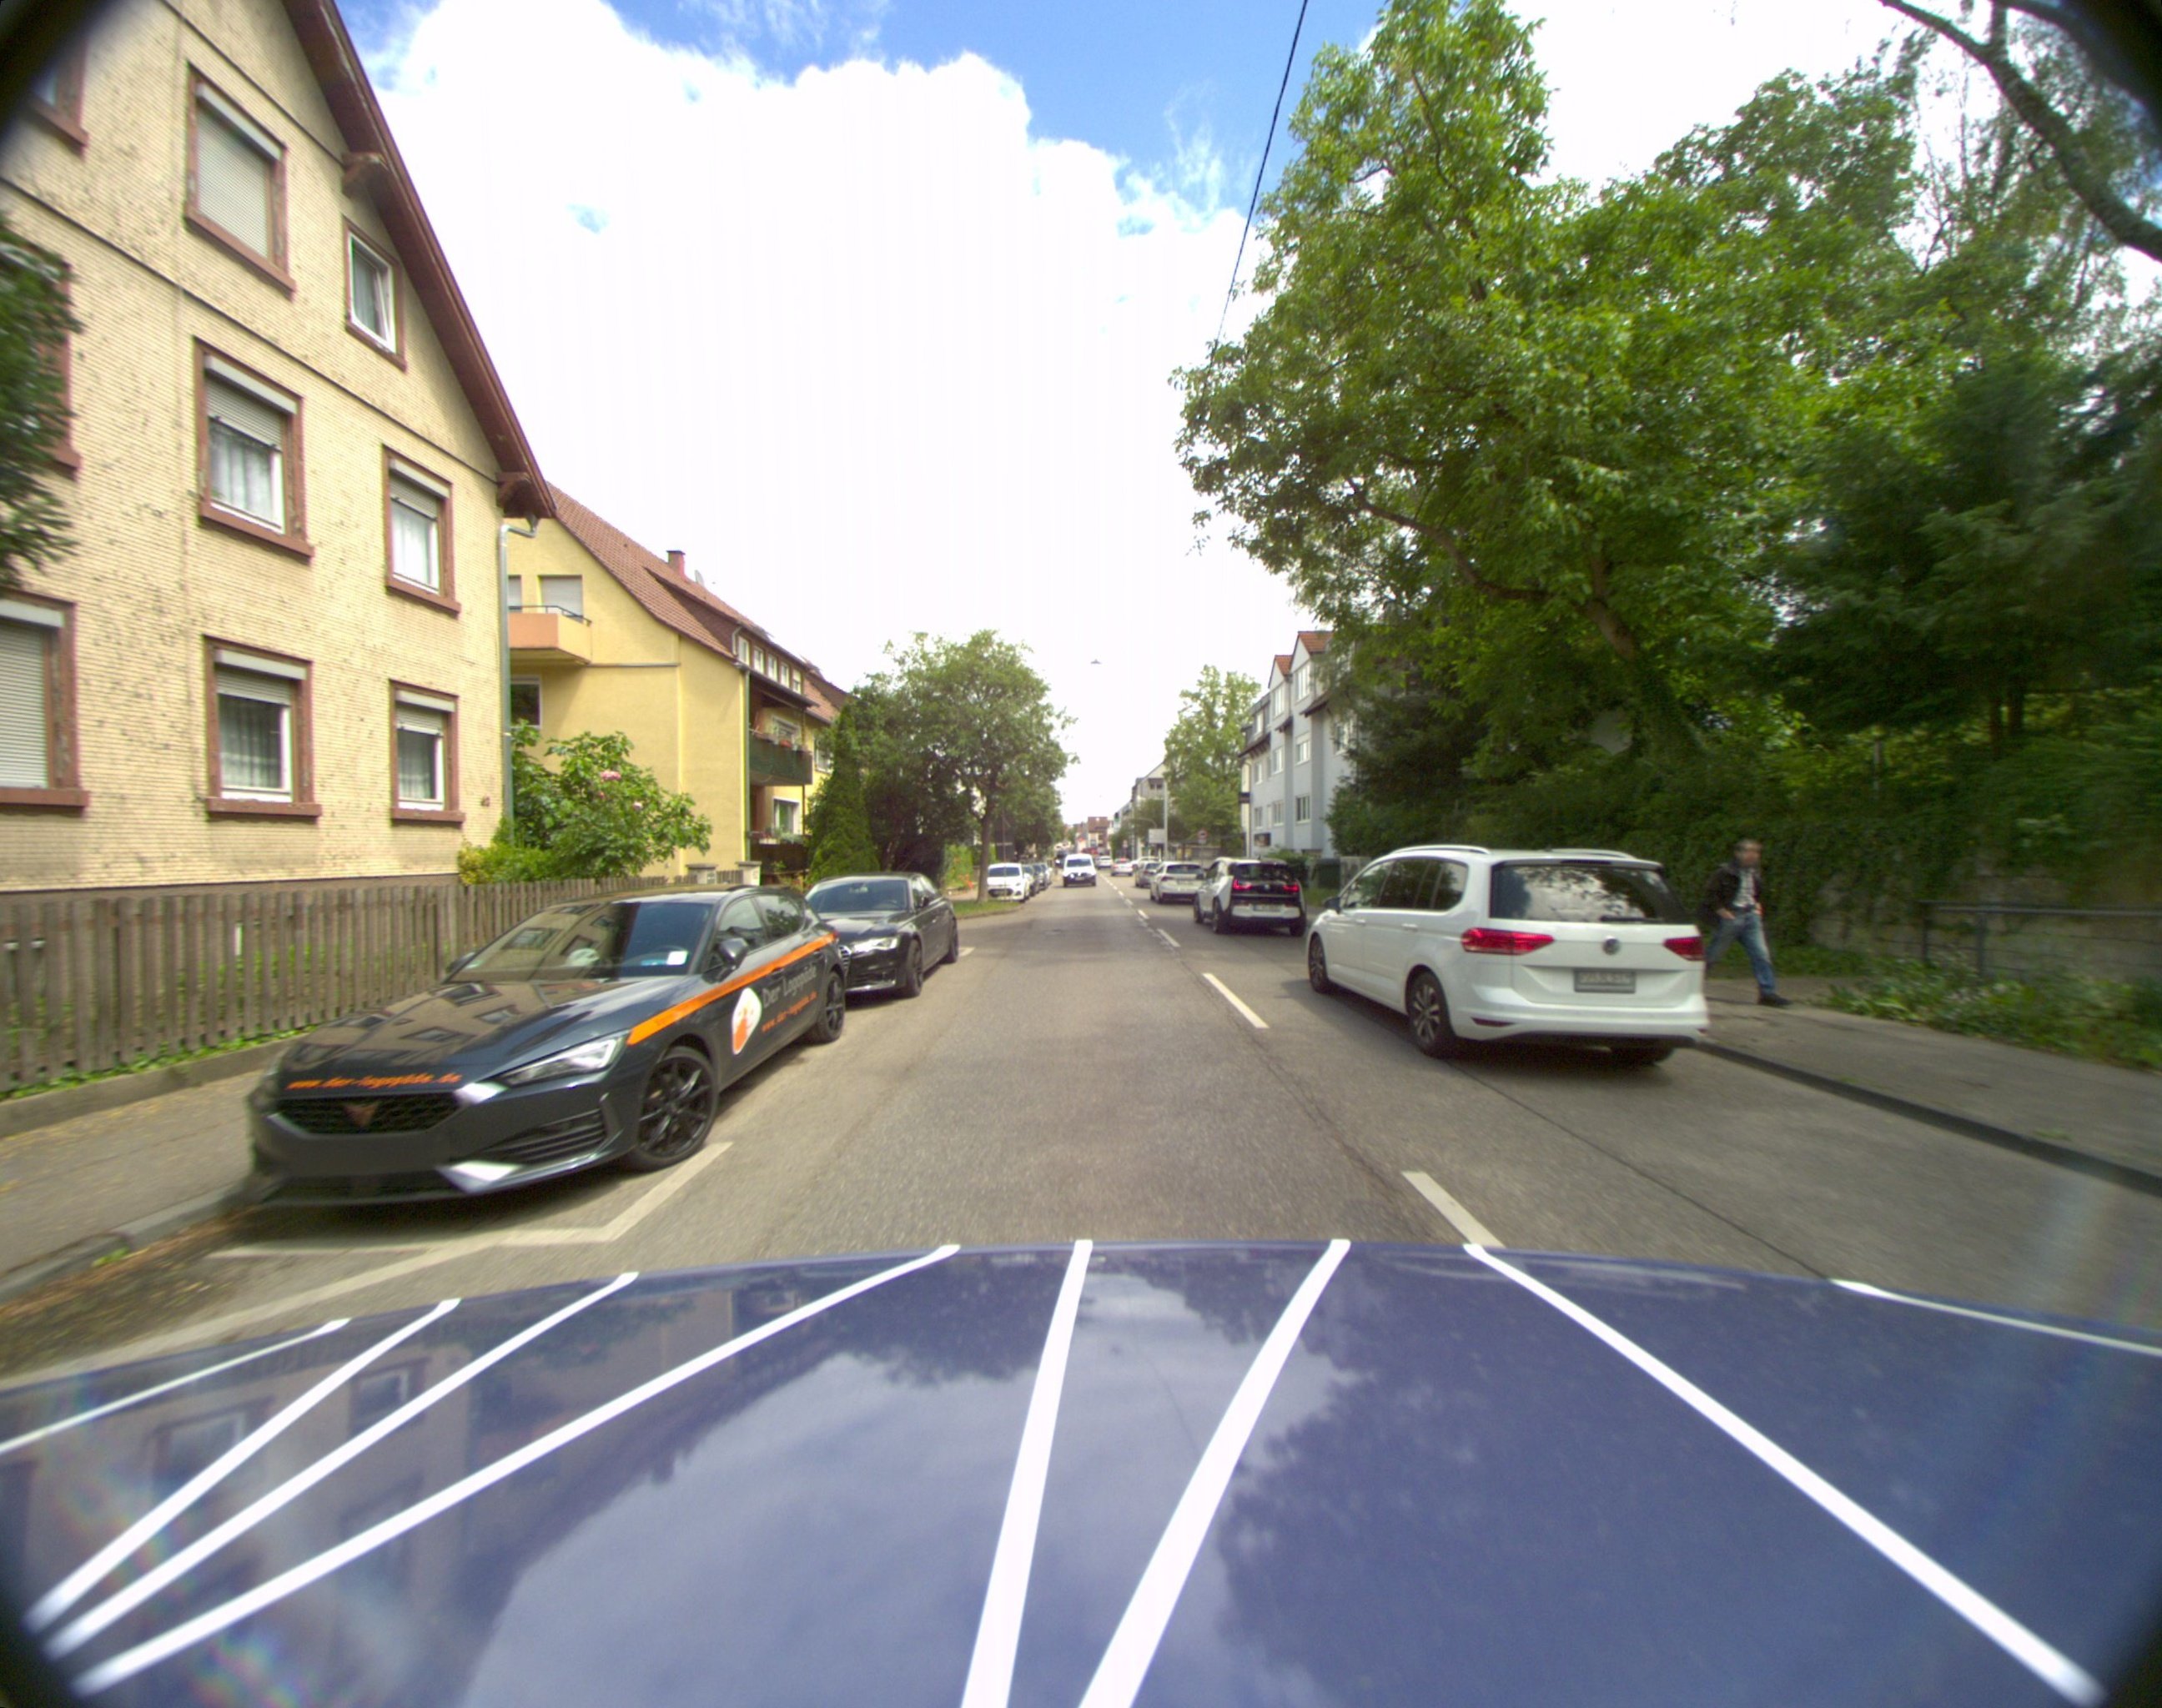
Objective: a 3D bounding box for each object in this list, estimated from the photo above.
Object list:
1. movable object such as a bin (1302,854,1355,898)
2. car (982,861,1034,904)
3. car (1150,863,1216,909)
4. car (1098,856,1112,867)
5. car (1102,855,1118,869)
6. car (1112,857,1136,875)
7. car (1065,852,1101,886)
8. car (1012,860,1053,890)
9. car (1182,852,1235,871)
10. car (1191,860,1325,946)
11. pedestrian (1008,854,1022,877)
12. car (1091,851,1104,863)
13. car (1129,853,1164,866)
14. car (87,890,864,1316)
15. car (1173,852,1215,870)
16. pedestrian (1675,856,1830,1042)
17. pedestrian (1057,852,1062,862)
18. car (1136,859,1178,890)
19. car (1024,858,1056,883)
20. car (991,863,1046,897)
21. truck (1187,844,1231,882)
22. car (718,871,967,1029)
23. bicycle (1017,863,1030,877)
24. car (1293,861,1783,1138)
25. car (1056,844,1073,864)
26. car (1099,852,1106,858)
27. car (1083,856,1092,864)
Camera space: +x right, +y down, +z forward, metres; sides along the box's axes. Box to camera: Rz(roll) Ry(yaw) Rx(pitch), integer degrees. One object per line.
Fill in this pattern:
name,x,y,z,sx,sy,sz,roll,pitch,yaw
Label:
movable object such as a bin,8.379,0.729,25.773,1.334,1.419,1.213,-1,1,-6
car,-2.756,1.049,29.435,1.626,1.499,3.779,-1,0,0
car,3.455,1.063,26.448,1.764,1.431,3.970,1,0,0
car,3.254,1.009,102.806,1.621,1.477,3.812,-1,0,-2
car,3.456,0.953,91.500,1.810,1.562,4.159,1,0,0
car,3.689,1.022,65.768,1.733,1.494,4.375,1,0,0
car,0.143,0.794,43.068,1.870,1.805,5.007,-1,0,1
car,-2.543,1.073,40.741,1.738,1.420,4.882,-4,0,0
car,9.945,0.565,59.442,3.703,1.417,1.804,-1,0,-3
car,3.667,0.957,16.553,1.933,1.537,4.086,2,0,0
pedestrian,-4.921,0.861,56.834,0.882,1.703,0.842,-1,1,2
car,2.791,0.546,128.088,1.882,1.901,4.750,-1,0,-2
car,8.016,0.679,93.259,4.222,1.504,1.822,-1,-1,0
car,-3.033,1.089,5.276,1.829,1.409,4.508,-2,0,-2
car,13.368,0.867,90.018,4.633,1.997,2.095,-1,1,-3
pedestrian,6.464,0.863,7.368,0.655,1.657,0.931,-1,1,-5
pedestrian,-3.381,0.491,119.432,0.786,1.633,0.798,-1,1,5
car,3.954,1.044,40.311,1.714,1.447,4.286,2,1,0
car,-2.576,1.030,49.185,1.705,1.472,4.872,-2,0,0
car,-2.781,1.145,34.836,1.998,1.415,4.589,-1,0,2
truck,8.667,0.527,52.019,2.229,2.366,6.326,-1,1,3
car,-2.818,1.039,10.268,1.806,1.437,4.886,-3,0,-1
bicycle,-4.915,1.366,64.844,0.722,1.144,2.214,-1,1,6
car,3.461,0.926,6.962,1.790,1.638,4.490,1,0,1
car,-2.360,0.004,108.803,2.153,2.754,6.249,-1,0,1
car,5.558,0.270,199.089,1.840,1.418,4.218,-1,1,1
car,1.219,1.117,145.090,1.732,1.529,4.000,-1,0,-1
